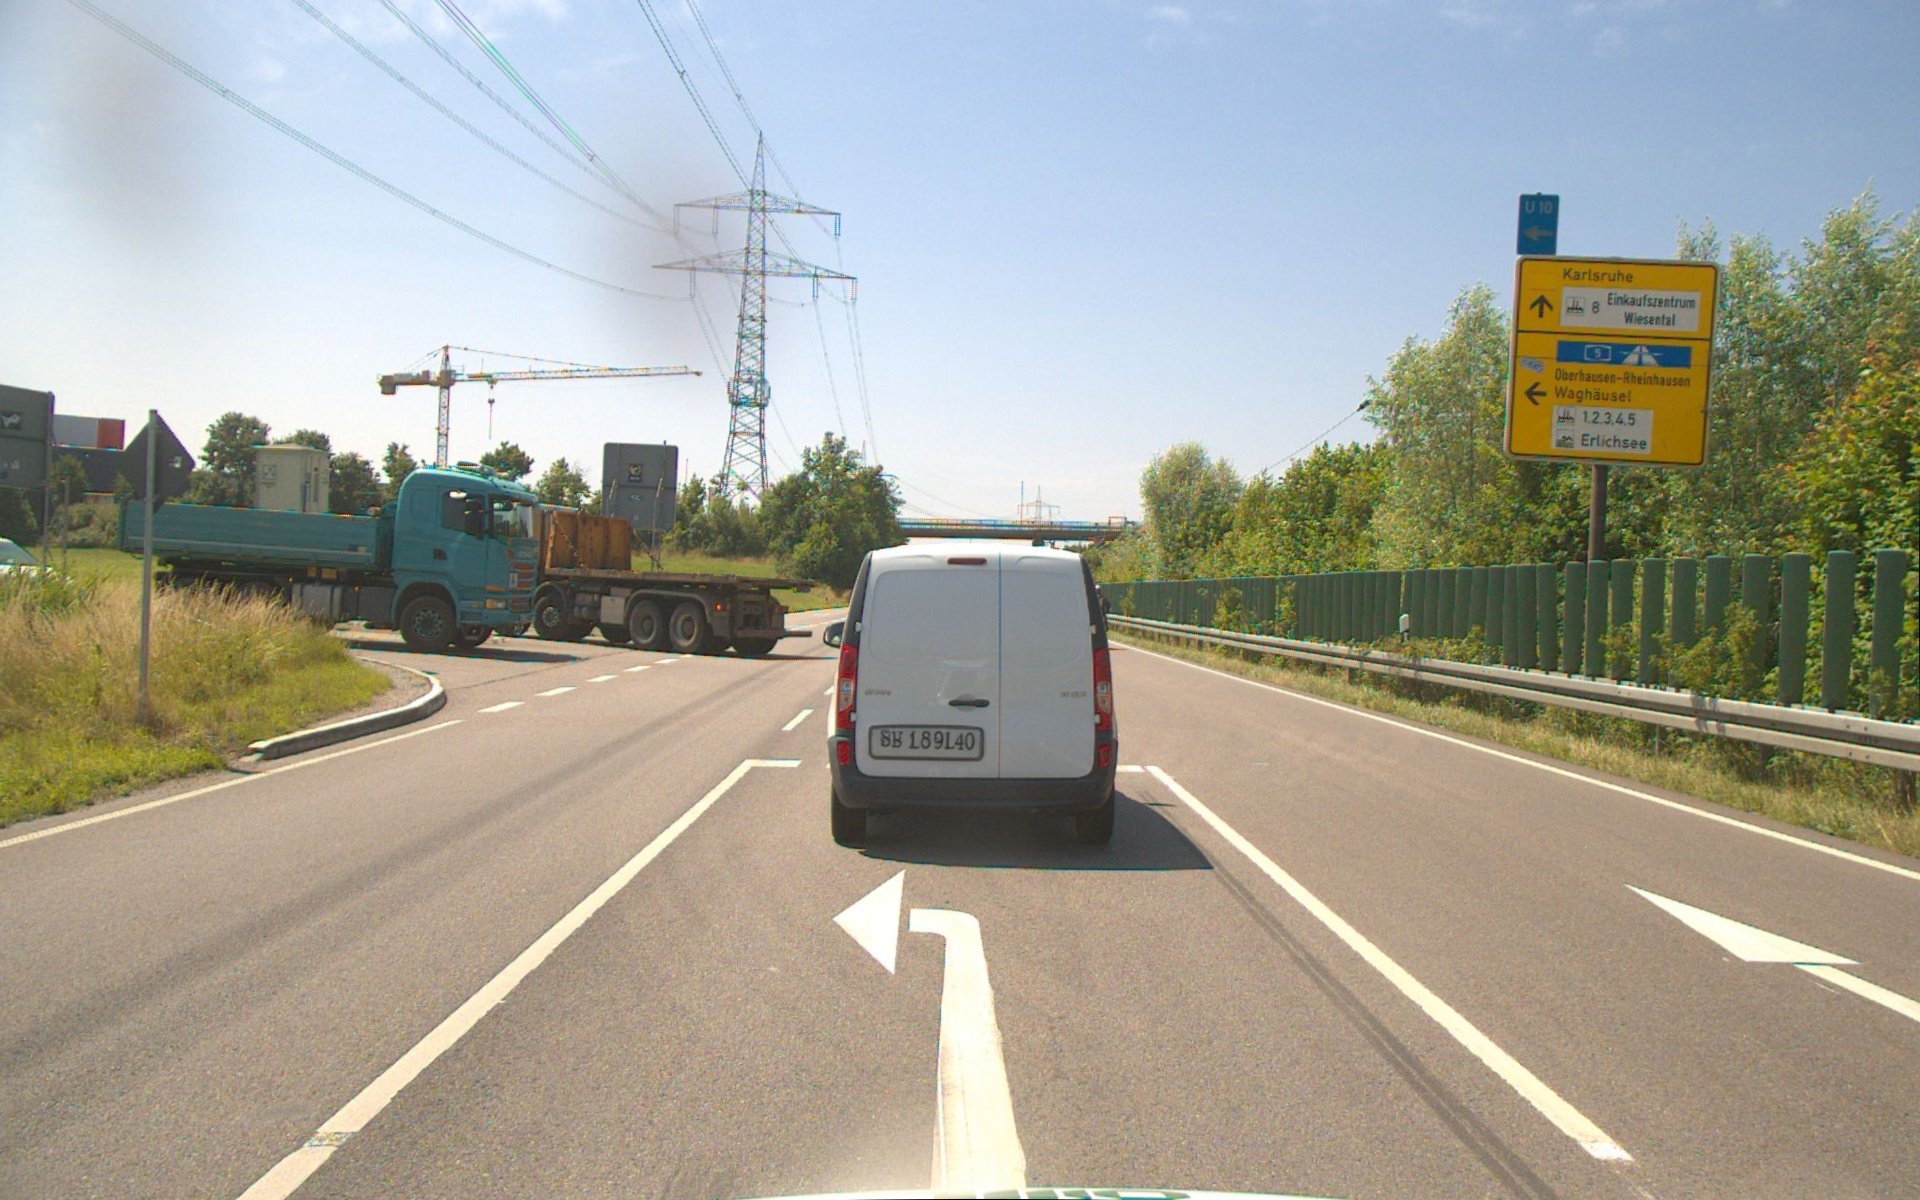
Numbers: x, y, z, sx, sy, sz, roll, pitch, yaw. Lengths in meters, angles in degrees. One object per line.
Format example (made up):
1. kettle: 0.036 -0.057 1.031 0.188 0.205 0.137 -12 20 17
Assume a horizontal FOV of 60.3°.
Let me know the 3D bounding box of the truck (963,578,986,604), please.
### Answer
1. truck: 1.557 -0.992 179.743 2.326 2.736 8.008 2 0 -1

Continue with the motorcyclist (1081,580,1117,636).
1. motorcyclist: 3.814 0.212 45.540 0.871 1.502 1.002 1 0 -1

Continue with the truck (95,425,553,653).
1. truck: -12.223 -1.150 32.185 7.741 3.799 2.499 4 0 2

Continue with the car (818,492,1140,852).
1. car: 0.082 0.395 11.331 1.790 2.005 3.999 1 0 -1

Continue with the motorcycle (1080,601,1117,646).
1. motorcycle: 3.817 0.641 45.601 0.774 1.178 1.901 2 0 -2

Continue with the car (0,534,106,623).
1. car: -19.400 -0.506 32.481 4.445 1.640 1.969 3 0 14

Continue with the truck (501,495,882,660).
1. truck: -6.299 -0.608 37.536 9.514 3.345 2.817 2 1 38
